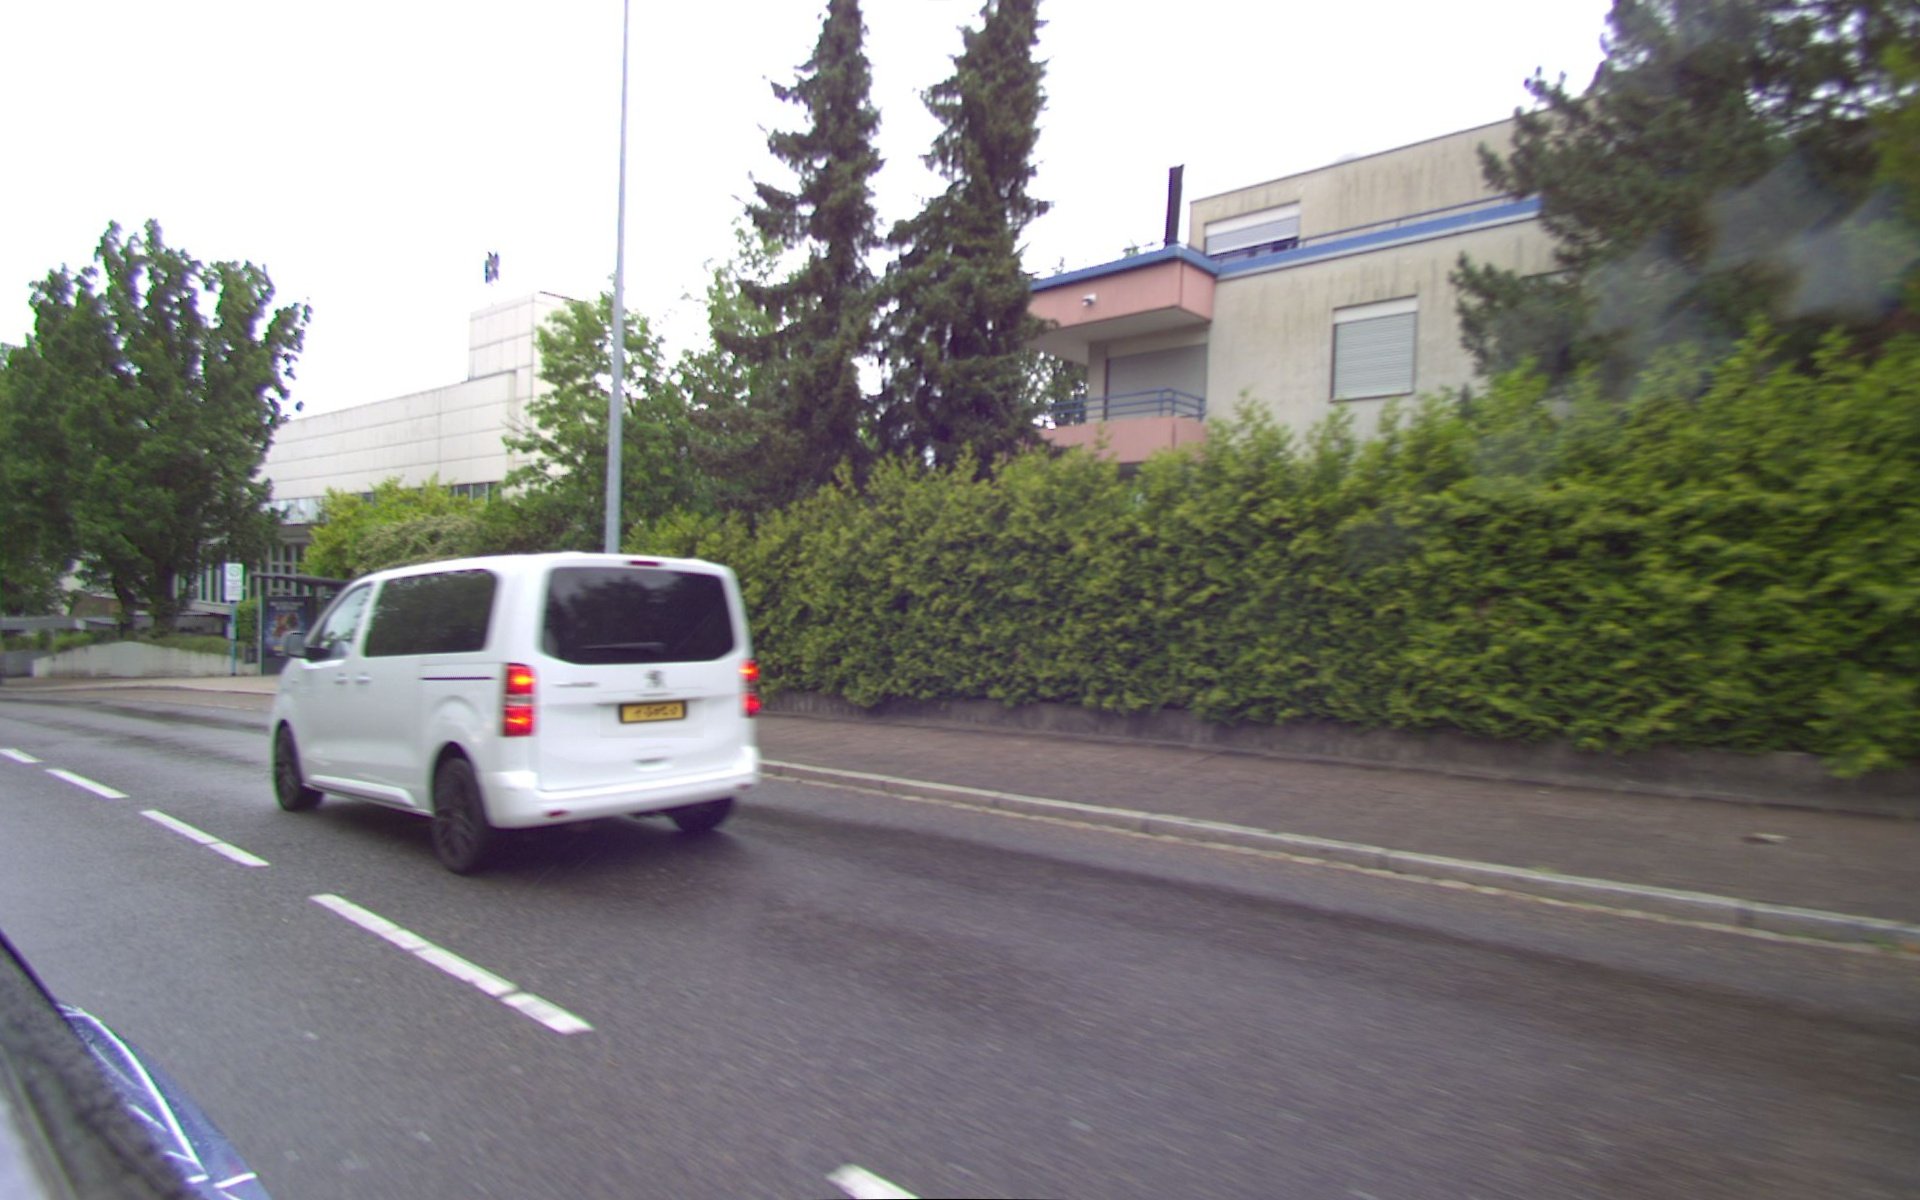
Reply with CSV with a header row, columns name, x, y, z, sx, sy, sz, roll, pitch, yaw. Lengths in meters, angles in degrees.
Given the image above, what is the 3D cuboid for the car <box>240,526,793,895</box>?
name,x,y,z,sx,sy,sz,roll,pitch,yaw
car,-3.612,0.664,7.672,5.026,1.931,1.844,-2,-3,41
